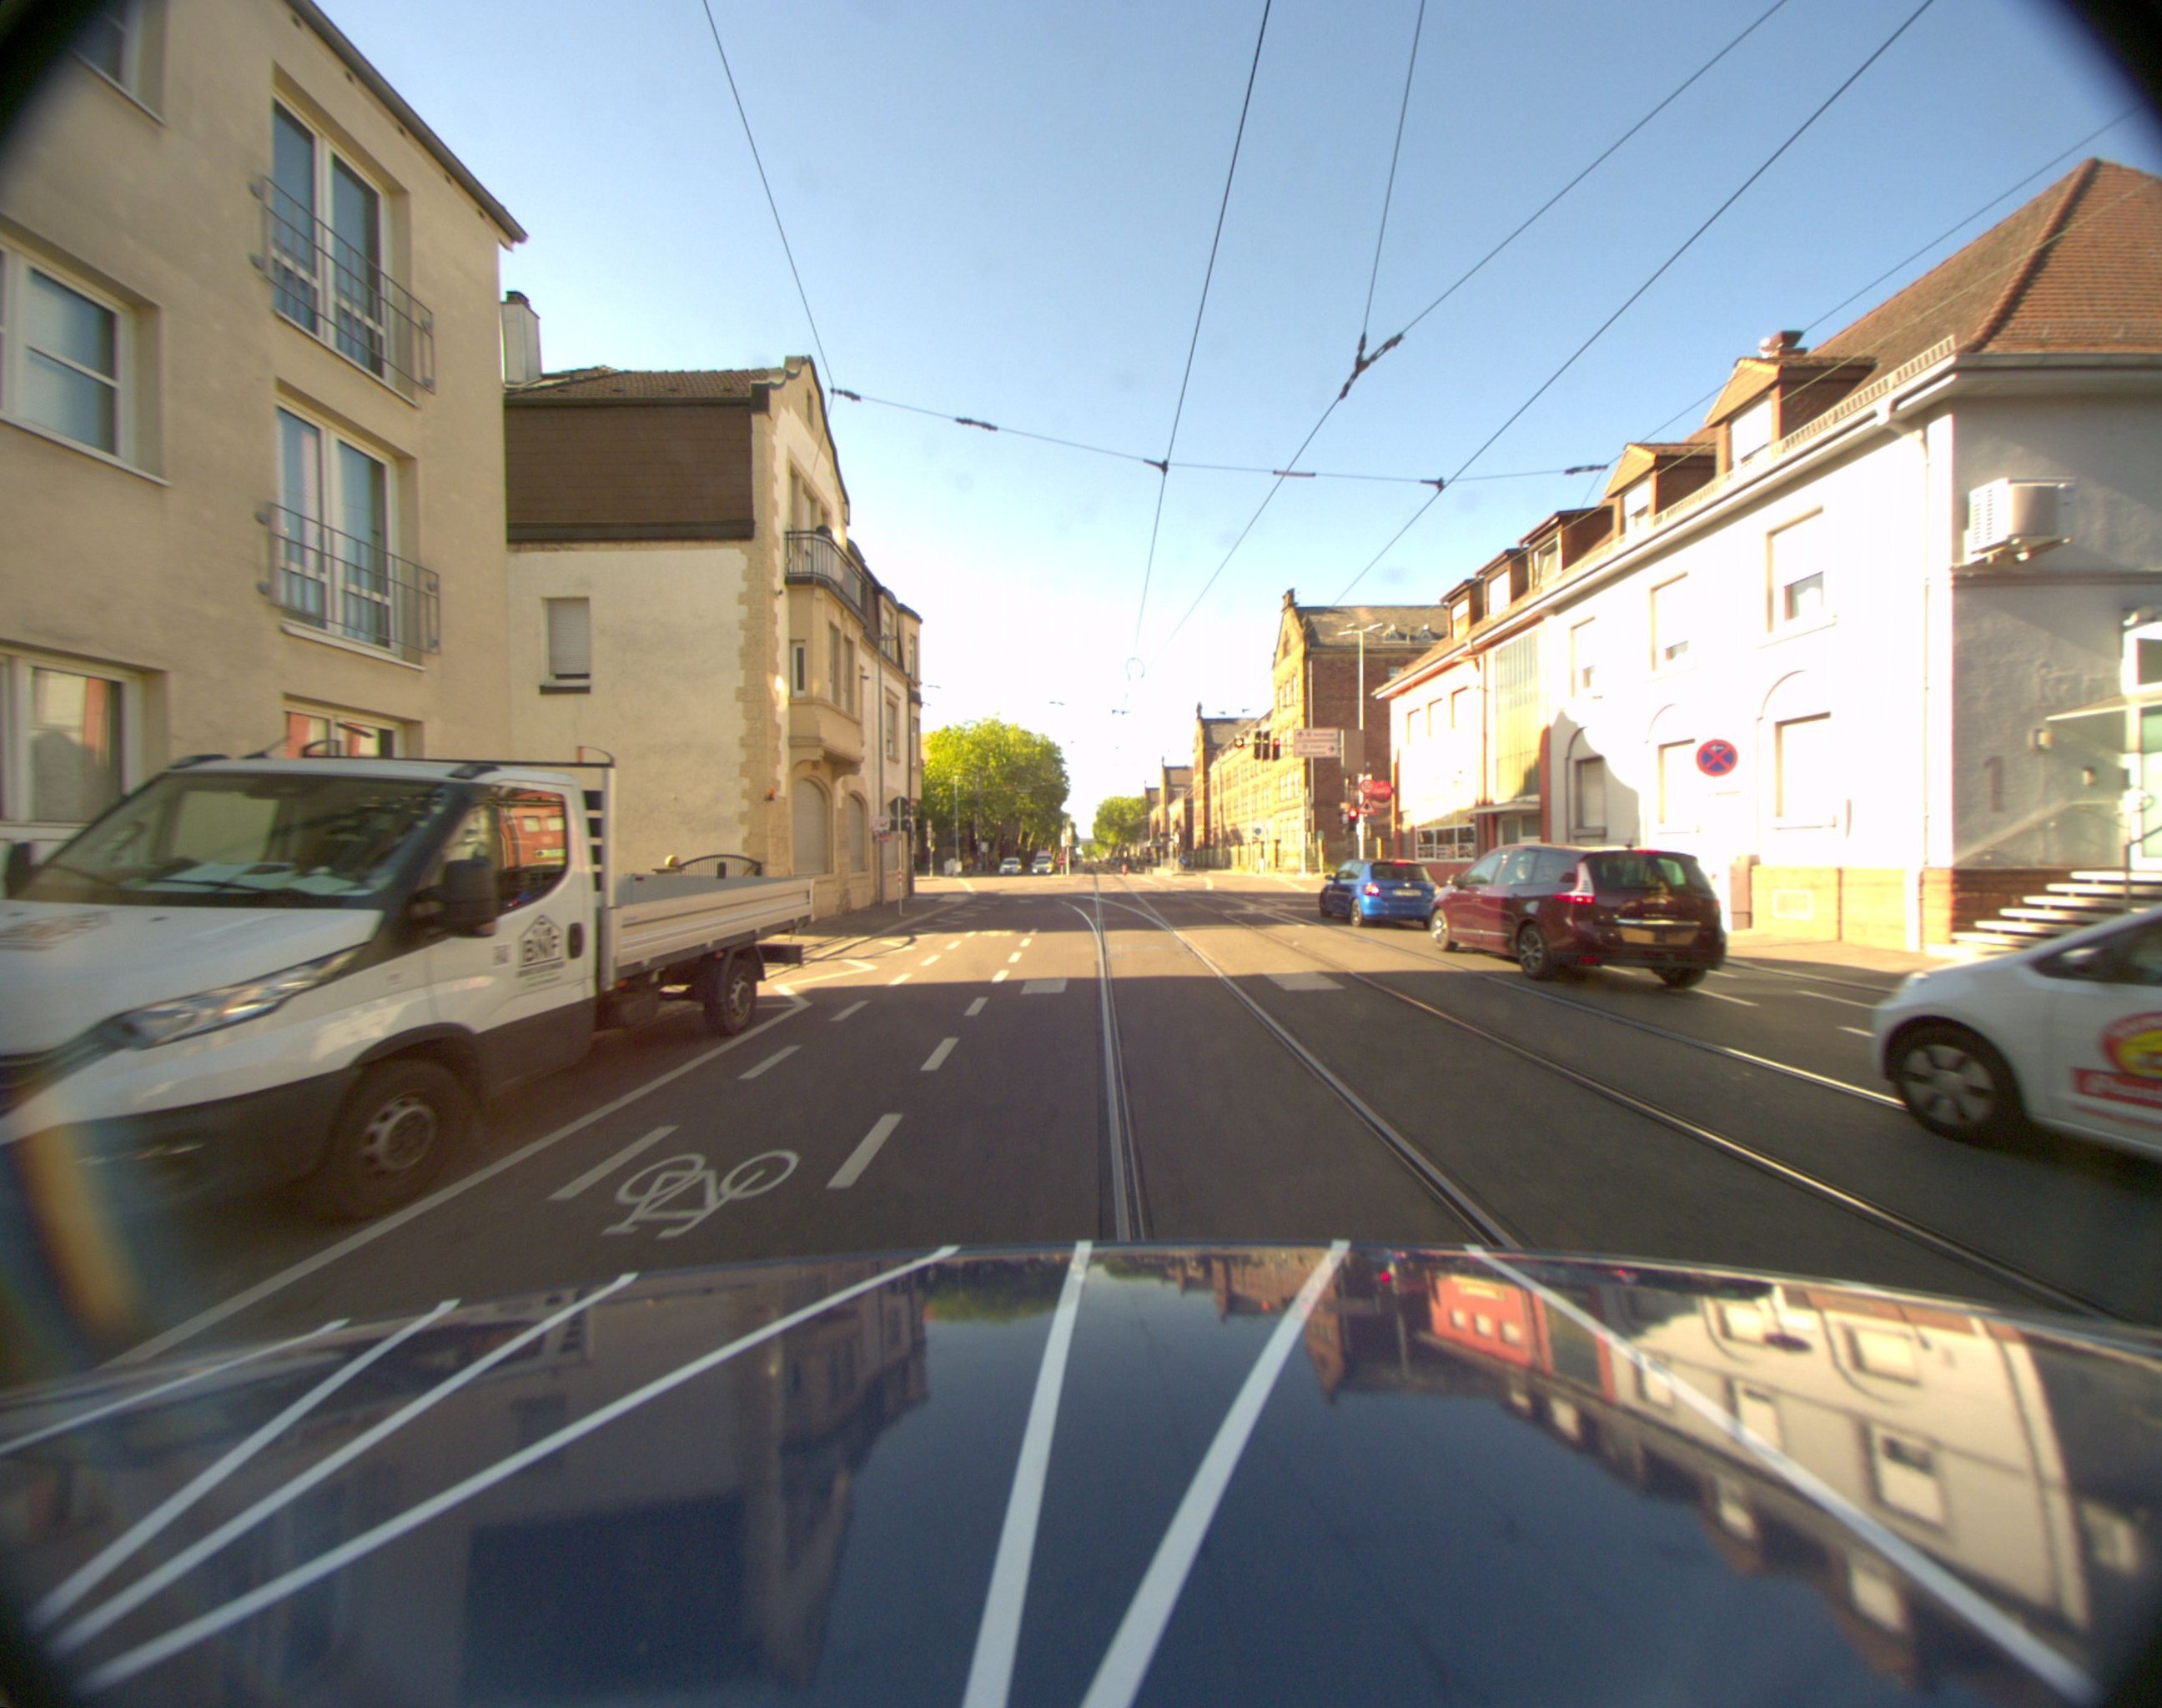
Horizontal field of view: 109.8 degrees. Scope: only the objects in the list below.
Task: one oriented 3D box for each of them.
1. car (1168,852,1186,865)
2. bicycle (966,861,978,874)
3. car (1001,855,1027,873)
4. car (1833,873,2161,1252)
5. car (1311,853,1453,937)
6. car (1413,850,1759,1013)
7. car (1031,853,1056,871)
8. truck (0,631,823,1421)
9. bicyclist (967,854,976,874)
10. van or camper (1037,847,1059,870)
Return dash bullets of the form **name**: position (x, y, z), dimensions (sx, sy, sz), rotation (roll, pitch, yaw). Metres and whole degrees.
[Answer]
- **car**: position (11.218, 0.506, 89.056), dimensions (1.740, 1.434, 4.116), rotation (-1, 0, 2)
- **bicycle**: position (-9.349, 1.167, 65.369), dimensions (0.690, 1.027, 2.100), rotation (0, -2, 1)
- **car**: position (-6.192, 0.927, 70.717), dimensions (1.911, 1.608, 4.572), rotation (-2, -1, 1)
- **car**: position (5.039, 0.852, 2.511), dimensions (1.586, 1.452, 3.613), rotation (0, 1, 2)
- **car**: position (6.389, 0.791, 16.609), dimensions (1.687, 1.558, 3.929), rotation (1, 0, 3)
- **car**: position (6.086, 0.763, 9.993), dimensions (1.742, 1.602, 4.716), rotation (0, 0, 5)
- **car**: position (-3.539, 0.765, 72.323), dimensions (1.984, 1.539, 4.035), rotation (-1, -1, 2)
- **truck**: position (-4.138, 0.553, 5.455), dimensions (2.301, 2.463, 6.146), rotation (-1, 0, 1)
- **bicyclist**: position (-9.355, 0.867, 65.192), dimensions (0.670, 1.718, 0.623), rotation (0, -2, 0)
- **van or camper**: position (-3.549, 0.517, 81.458), dimensions (1.998, 2.346, 5.600), rotation (-1, -1, 1)
